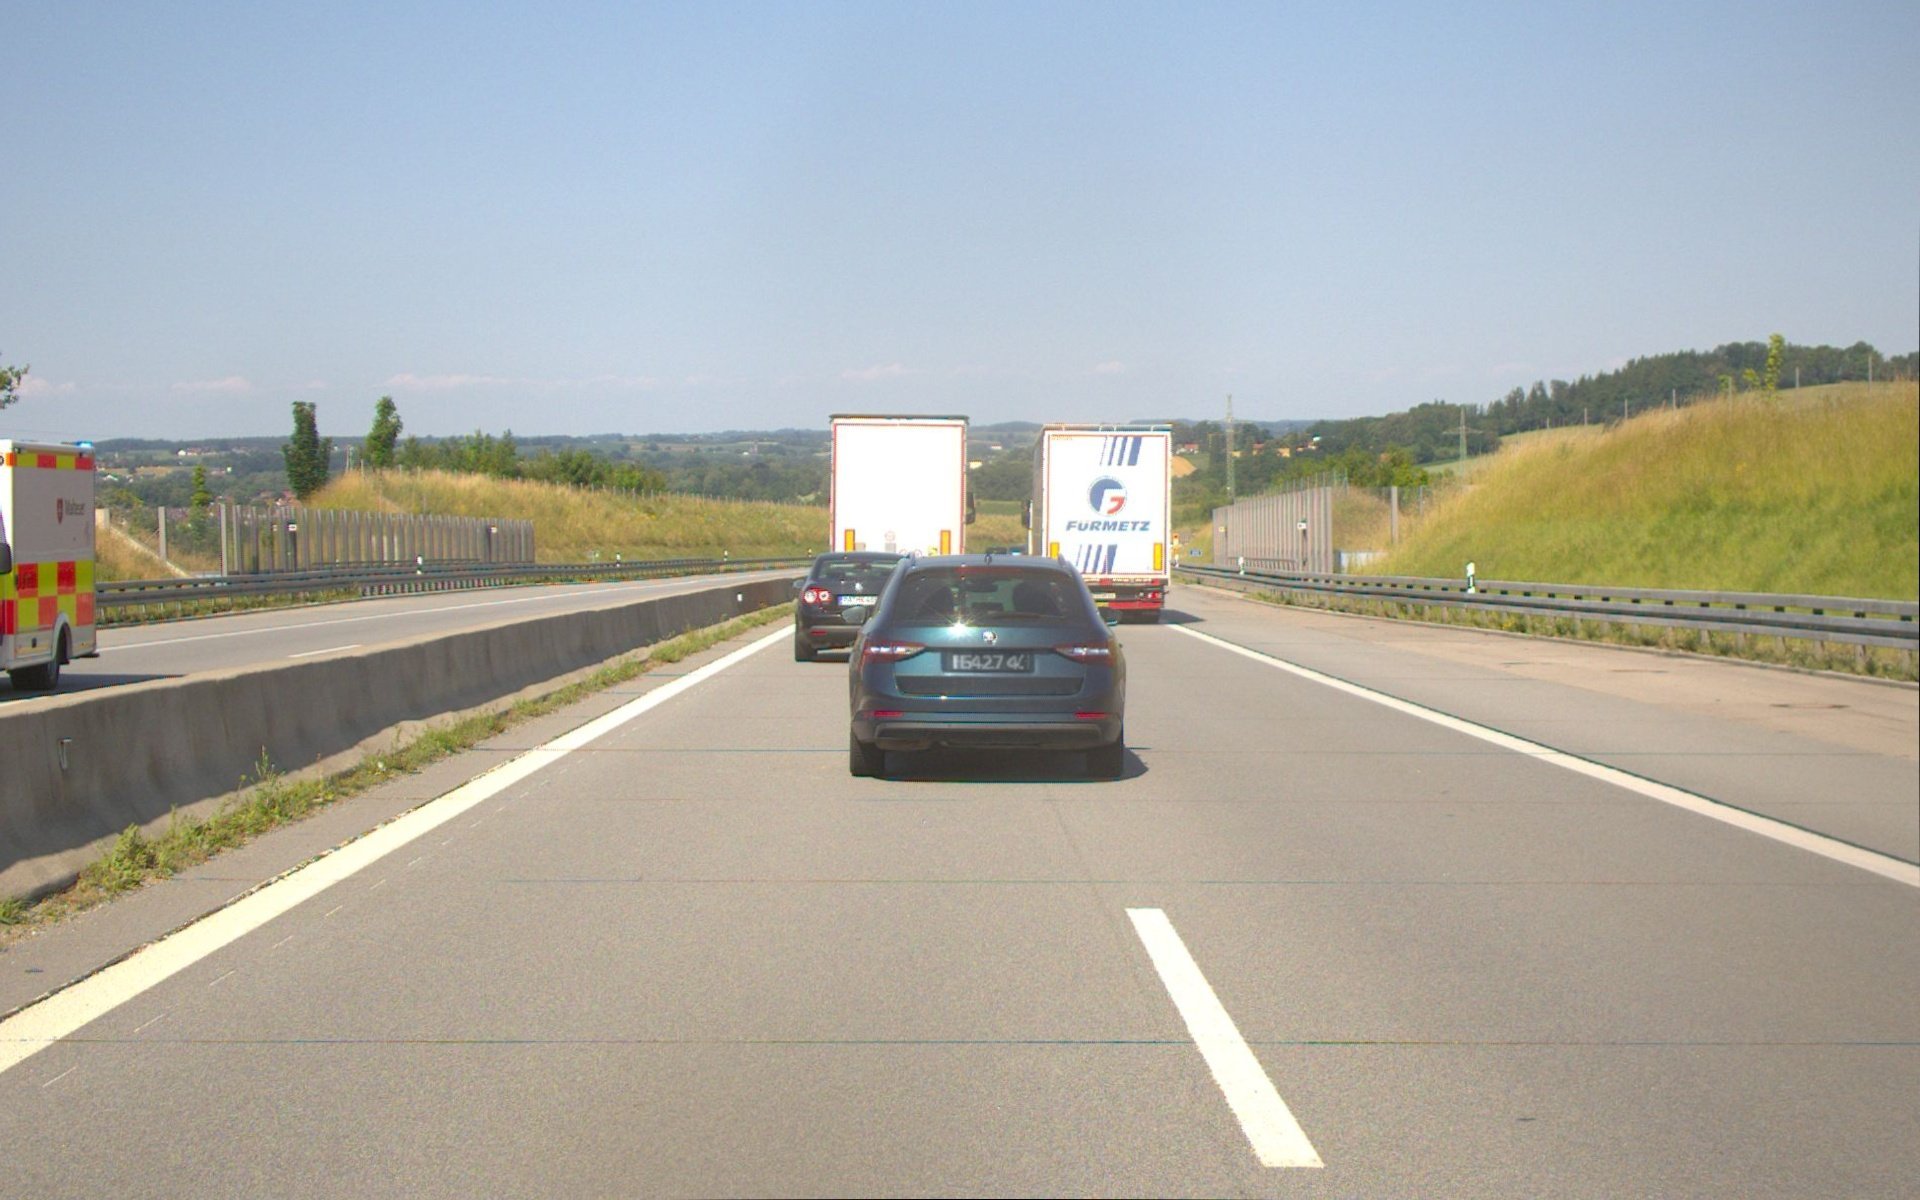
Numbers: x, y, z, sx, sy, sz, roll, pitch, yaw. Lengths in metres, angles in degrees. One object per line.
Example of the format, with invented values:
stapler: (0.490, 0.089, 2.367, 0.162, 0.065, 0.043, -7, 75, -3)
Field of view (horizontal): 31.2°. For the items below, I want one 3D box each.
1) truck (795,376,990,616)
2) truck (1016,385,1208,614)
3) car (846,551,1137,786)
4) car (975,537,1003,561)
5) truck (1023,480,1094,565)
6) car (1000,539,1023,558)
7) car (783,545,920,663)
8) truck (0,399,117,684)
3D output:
truck: (-1.215, -2.060, 70.067, 3.211, 4.366, 11.233, -2, 1, 2)
truck: (3.157, -2.093, 73.516, 3.604, 4.366, 11.233, -2, 1, 2)
car: (0.133, 0.398, 23.169, 1.776, 1.436, 3.789, 0, 1, -2)
car: (1.764, -3.164, 212.859, 1.700, 1.436, 4.000, 0, 1, 0)
truck: (5.371, -4.233, 188.270, 3.604, 4.366, 11.233, -2, 1, 2)
car: (3.854, -3.854, 256.614, 1.700, 1.436, 4.000, 0, 1, 0)
car: (-1.460, 0.017, 46.081, 1.700, 1.436, 4.000, -2, 1, -2)
truck: (-11.548, -0.652, 38.195, 2.774, 3.011, 6.793, 0, 1, -1)
